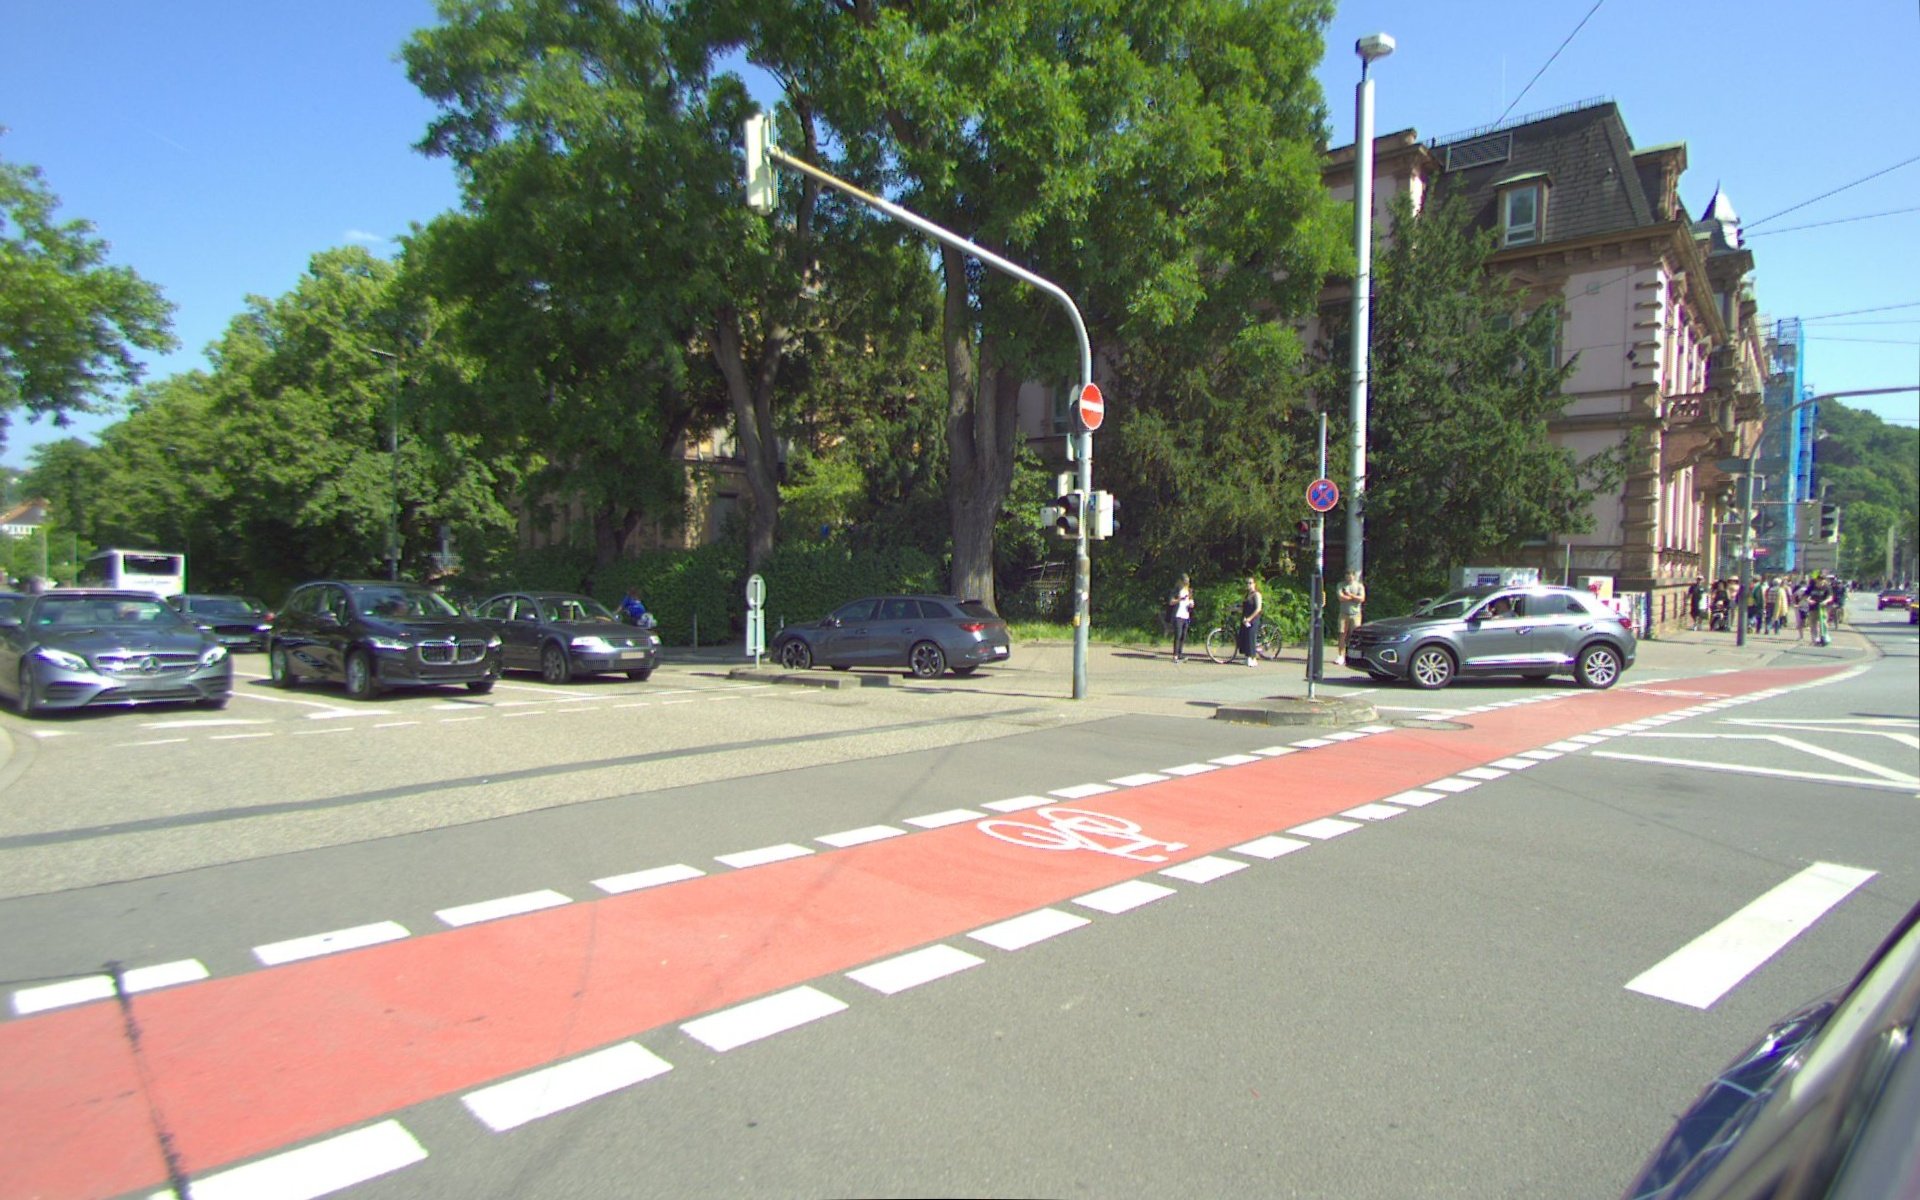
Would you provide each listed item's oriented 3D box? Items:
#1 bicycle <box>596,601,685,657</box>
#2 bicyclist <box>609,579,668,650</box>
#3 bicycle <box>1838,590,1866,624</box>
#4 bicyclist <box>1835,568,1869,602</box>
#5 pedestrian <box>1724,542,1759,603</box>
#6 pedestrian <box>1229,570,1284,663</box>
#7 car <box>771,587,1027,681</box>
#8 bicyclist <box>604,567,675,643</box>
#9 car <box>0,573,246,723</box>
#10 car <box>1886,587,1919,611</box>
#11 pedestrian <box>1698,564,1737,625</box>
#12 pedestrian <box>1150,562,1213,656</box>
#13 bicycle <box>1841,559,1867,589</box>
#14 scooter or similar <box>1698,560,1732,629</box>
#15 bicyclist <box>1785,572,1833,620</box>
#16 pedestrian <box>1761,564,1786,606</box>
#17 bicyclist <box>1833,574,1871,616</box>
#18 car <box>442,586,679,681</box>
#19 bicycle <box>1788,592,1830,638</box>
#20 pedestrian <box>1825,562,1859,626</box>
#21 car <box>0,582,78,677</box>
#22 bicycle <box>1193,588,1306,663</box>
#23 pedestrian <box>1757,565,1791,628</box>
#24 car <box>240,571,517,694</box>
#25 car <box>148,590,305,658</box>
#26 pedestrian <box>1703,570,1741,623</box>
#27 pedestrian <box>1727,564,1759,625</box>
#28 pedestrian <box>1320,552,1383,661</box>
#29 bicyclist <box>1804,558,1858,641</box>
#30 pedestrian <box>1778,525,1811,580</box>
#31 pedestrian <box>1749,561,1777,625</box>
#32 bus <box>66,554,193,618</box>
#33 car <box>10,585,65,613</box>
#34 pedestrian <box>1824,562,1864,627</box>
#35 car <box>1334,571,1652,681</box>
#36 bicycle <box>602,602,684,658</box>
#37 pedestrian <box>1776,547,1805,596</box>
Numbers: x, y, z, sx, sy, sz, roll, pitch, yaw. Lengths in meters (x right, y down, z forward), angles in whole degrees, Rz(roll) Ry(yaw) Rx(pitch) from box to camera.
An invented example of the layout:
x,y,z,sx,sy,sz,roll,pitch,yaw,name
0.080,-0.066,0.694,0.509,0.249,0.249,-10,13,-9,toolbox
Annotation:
x,y,z,sx,sy,sz,roll,pitch,yaw,name
-7.369,0.652,23.270,2.230,1.179,0.611,1,2,30,bicycle
-7.388,0.312,23.265,1.049,1.573,0.770,2,2,26,bicyclist
31.871,0.230,36.178,0.641,1.096,2.461,3,3,39,bicycle
34.383,-0.578,39.034,0.909,1.249,1.215,3,3,40,bicyclist
26.913,-0.953,34.855,0.811,2.037,0.804,5,4,40,pedestrian
5.740,0.291,19.580,0.673,1.731,0.879,3,3,42,pedestrian
-1.098,0.530,18.343,4.239,1.509,1.983,1,1,25,car
-7.432,0.108,23.483,1.080,1.699,1.158,0,0,32,bicyclist
-10.742,0.437,12.490,4.459,1.412,1.824,3,3,36,car
66.795,-0.105,71.475,1.992,1.593,3.939,1,1,42,car
23.447,-0.194,31.312,0.811,1.814,0.804,5,4,40,pedestrian
4.481,0.165,20.452,1.052,1.801,0.694,1,5,33,pedestrian
34.372,-1.013,38.925,0.641,1.096,2.461,3,3,39,bicycle
22.905,-0.197,30.695,0.691,2.038,1.080,3,3,40,scooter or similar
22.630,-0.128,27.005,0.920,1.234,0.958,3,3,40,bicyclist
33.999,-0.650,42.294,0.705,1.715,0.619,3,4,44,pedestrian
31.800,-0.188,36.089,0.909,1.454,1.215,3,3,40,bicyclist
-6.800,0.470,17.038,4.295,1.374,1.856,1,1,39,car
22.633,0.367,26.997,0.777,1.116,2.109,3,3,39,bicycle
28.848,-0.218,33.113,0.660,2.037,0.689,5,4,40,pedestrian
-16.806,0.438,17.005,4.452,1.466,1.826,1,1,32,car
5.739,0.473,20.031,2.229,1.219,0.804,-4,6,-28,bicycle
24.140,-0.119,30.018,0.704,1.790,0.890,3,3,39,pedestrian
-8.462,0.365,14.603,4.458,1.524,1.824,1,1,36,car
-17.894,0.517,24.628,4.458,1.460,1.824,1,1,36,car
24.315,-0.130,32.300,0.811,1.621,0.804,5,4,40,pedestrian
23.510,-0.189,30.386,0.704,1.774,0.891,3,4,39,pedestrian
7.557,0.101,19.529,0.774,2.038,1.044,3,3,41,pedestrian
22.110,-0.029,25.719,0.940,2.038,0.818,3,3,40,bicyclist
31.781,-1.795,38.544,0.811,2.037,0.804,5,4,40,pedestrian
24.517,-0.233,30.885,0.633,1.915,0.890,1,1,39,pedestrian
-39.719,-0.784,48.269,8.813,2.817,3.066,2,3,40,bus
-42.276,-0.065,46.354,1.731,1.237,3.286,-1,1,-45,car
28.917,-0.195,33.112,0.811,2.037,0.804,5,4,40,pedestrian
8.197,0.370,15.839,3.915,1.535,1.937,1,1,-2,car
-7.350,0.669,23.427,1.989,1.241,0.709,0,1,33,bicycle
35.638,-1.213,43.437,0.811,2.037,0.804,5,4,40,pedestrian
